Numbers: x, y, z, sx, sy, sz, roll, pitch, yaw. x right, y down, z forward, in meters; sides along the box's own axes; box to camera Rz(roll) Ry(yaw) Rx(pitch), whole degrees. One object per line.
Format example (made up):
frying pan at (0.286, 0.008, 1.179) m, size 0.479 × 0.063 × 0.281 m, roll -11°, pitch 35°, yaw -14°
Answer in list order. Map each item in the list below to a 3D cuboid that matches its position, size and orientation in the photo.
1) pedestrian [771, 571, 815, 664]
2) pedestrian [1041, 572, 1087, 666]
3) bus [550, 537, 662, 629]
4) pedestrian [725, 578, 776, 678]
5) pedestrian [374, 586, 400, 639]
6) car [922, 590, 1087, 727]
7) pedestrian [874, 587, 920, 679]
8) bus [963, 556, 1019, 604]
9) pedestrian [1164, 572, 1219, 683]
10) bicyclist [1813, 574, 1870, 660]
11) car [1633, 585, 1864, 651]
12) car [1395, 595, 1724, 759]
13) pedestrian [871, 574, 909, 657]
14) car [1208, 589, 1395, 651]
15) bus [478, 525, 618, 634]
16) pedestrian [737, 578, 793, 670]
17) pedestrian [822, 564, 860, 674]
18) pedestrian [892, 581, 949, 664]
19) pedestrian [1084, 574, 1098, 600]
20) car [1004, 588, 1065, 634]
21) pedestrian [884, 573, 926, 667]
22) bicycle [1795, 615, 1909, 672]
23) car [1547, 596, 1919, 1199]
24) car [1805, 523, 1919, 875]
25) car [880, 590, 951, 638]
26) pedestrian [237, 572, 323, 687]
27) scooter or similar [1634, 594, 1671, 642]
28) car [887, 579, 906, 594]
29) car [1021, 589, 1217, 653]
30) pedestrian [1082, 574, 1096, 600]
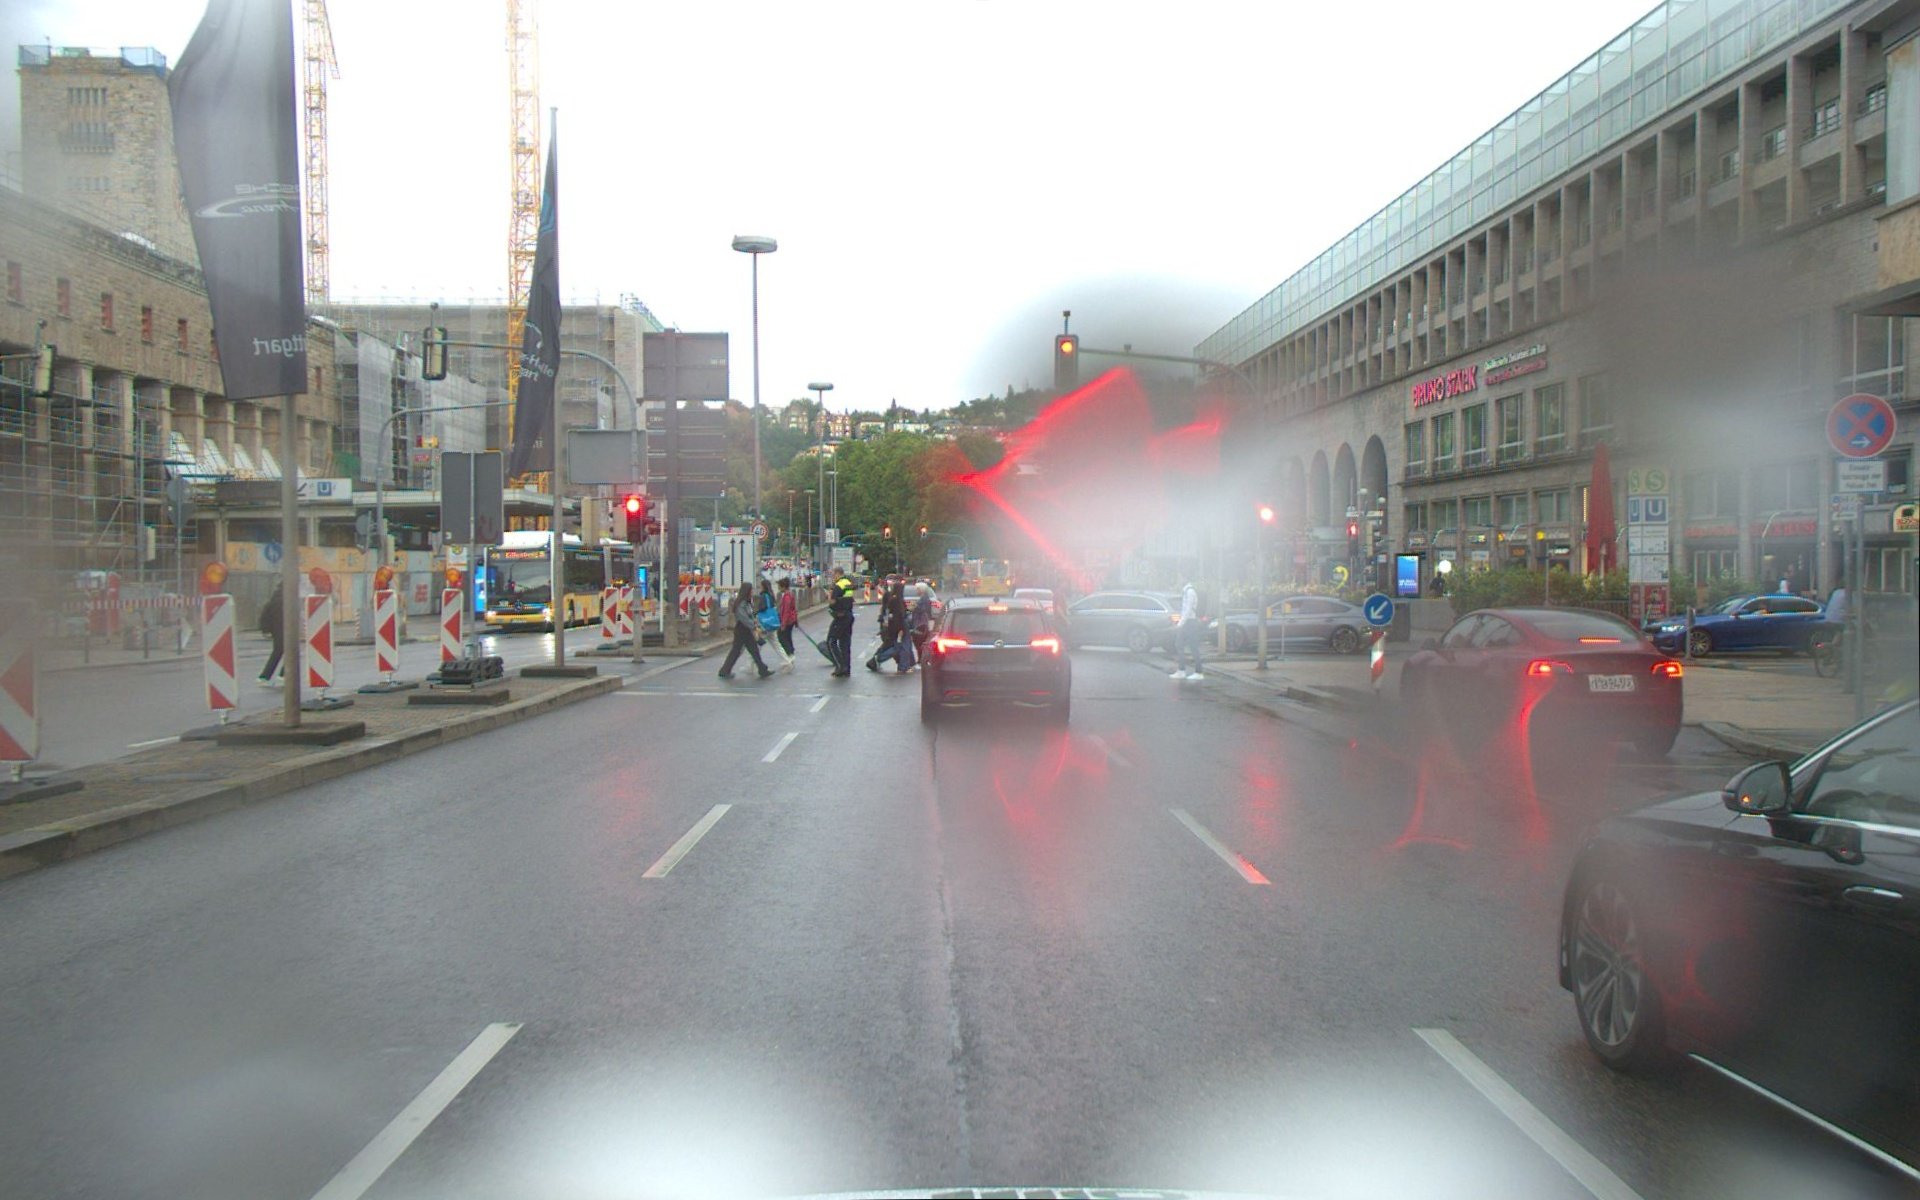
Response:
pedestrian at (-3.222, 0.335, 32.018) m, size 0.783 × 1.747 × 0.619 m, roll -1°, pitch 0°, yaw -4°
pedestrian at (1.989, 0.368, 31.736) m, size 0.560 × 1.783 × 0.676 m, roll 1°, pitch -1°, yaw 42°
bus at (-15.113, -0.673, 71.382) m, size 2.614 × 3.665 × 10.210 m, roll 1°, pitch 0°, yaw 0°
pedestrian at (-3.521, 0.466, 27.844) m, size 0.778 × 1.655 × 0.899 m, roll 1°, pitch 0°, yaw -4°
pedestrian at (-20.797, 0.444, 60.054) m, size 0.648 × 1.887 × 0.798 m, roll 0°, pitch 0°, yaw -1°
car at (0.470, 0.662, 20.596) m, size 1.836 × 1.512 × 3.999 m, roll 1°, pitch 0°, yaw -1°
pedestrian at (-1.149, 0.594, 30.087) m, size 0.783 × 1.636 × 0.619 m, roll 1°, pitch 0°, yaw -4°
bus at (2.389, -1.515, 133.876) m, size 4.088 × 3.529 × 14.652 m, roll 1°, pitch 0°, yaw 0°
pedestrian at (4.077, 0.479, 29.193) m, size 0.784 × 1.923 × 0.619 m, roll 1°, pitch 0°, yaw -9°
bicyclist at (16.357, 0.312, 30.680) m, size 0.705 × 1.567 × 0.610 m, roll 1°, pitch 0°, yaw -20°
car at (18.252, 0.409, 38.421) m, size 4.538 × 1.422 × 1.759 m, roll 1°, pitch 0°, yaw 1°
car at (6.246, 0.733, 17.842) m, size 1.836 × 1.512 × 4.525 m, roll 1°, pitch 0°, yaw -1°
pedestrian at (-1.298, 0.286, 30.618) m, size 0.665 × 1.500 × 0.366 m, roll 1°, pitch 0°, yaw -5°
car at (8.529, 0.474, 41.311) m, size 4.299 × 1.422 × 1.758 m, roll 1°, pitch 0°, yaw 23°
bus at (-15.026, -0.691, 61.198) m, size 2.614 × 3.665 × 10.238 m, roll 1°, pitch 0°, yaw 0°
pedestrian at (-3.428, 0.417, 29.144) m, size 0.897 × 1.591 × 0.899 m, roll 1°, pitch 0°, yaw -4°
pedestrian at (-2.060, 0.327, 28.663) m, size 0.566 × 1.868 × 0.820 m, roll 1°, pitch 0°, yaw 0°
pedestrian at (-0.780, 0.440, 32.615) m, size 0.769 × 1.588 × 0.874 m, roll 1°, pitch 0°, yaw 28°
pedestrian at (8.514, -0.844, 107.246) m, size 0.748 × 1.720 × 0.824 m, roll 1°, pitch 0°, yaw -5°
car at (2.431, 0.348, 54.609) m, size 1.808 × 1.422 × 3.563 m, roll 1°, pitch 0°, yaw -1°
pedestrian at (-1.040, 0.373, 31.114) m, size 0.740 × 1.747 × 0.466 m, roll 1°, pitch 0°, yaw -4°
bicycle at (16.613, 0.804, 30.790) m, size 2.175 × 1.027 × 0.589 m, roll 1°, pitch 0°, yaw -21°
car at (3.034, 0.770, 3.751) m, size 1.757 × 1.528 × 4.628 m, roll 1°, pitch 0°, yaw 0°
car at (6.283, 0.563, 7.956) m, size 1.836 × 1.954 × 4.934 m, roll 1°, pitch 0°, yaw -1°
car at (-1.419, 0.418, 51.367) m, size 1.720 × 1.422 × 4.530 m, roll 1°, pitch 0°, yaw -8°
pedestrian at (-10.926, 0.468, 26.591) m, size 1.074 × 1.782 × 0.653 m, roll -2°, pitch 0°, yaw -3°
scooter or similar at (17.860, 0.464, 42.661) m, size 0.285 × 1.210 × 1.014 m, roll 1°, pitch 0°, yaw -19°
car at (-6.112, -1.310, 159.296) m, size 1.723 × 1.422 × 3.563 m, roll 1°, pitch 0°, yaw -1°
car at (3.837, 0.494, 40.147) m, size 4.440 × 1.422 × 1.755 m, roll 1°, pitch 0°, yaw 31°
pedestrian at (8.431, -0.851, 108.241) m, size 0.748 × 1.720 × 0.824 m, roll 1°, pitch 0°, yaw -5°
